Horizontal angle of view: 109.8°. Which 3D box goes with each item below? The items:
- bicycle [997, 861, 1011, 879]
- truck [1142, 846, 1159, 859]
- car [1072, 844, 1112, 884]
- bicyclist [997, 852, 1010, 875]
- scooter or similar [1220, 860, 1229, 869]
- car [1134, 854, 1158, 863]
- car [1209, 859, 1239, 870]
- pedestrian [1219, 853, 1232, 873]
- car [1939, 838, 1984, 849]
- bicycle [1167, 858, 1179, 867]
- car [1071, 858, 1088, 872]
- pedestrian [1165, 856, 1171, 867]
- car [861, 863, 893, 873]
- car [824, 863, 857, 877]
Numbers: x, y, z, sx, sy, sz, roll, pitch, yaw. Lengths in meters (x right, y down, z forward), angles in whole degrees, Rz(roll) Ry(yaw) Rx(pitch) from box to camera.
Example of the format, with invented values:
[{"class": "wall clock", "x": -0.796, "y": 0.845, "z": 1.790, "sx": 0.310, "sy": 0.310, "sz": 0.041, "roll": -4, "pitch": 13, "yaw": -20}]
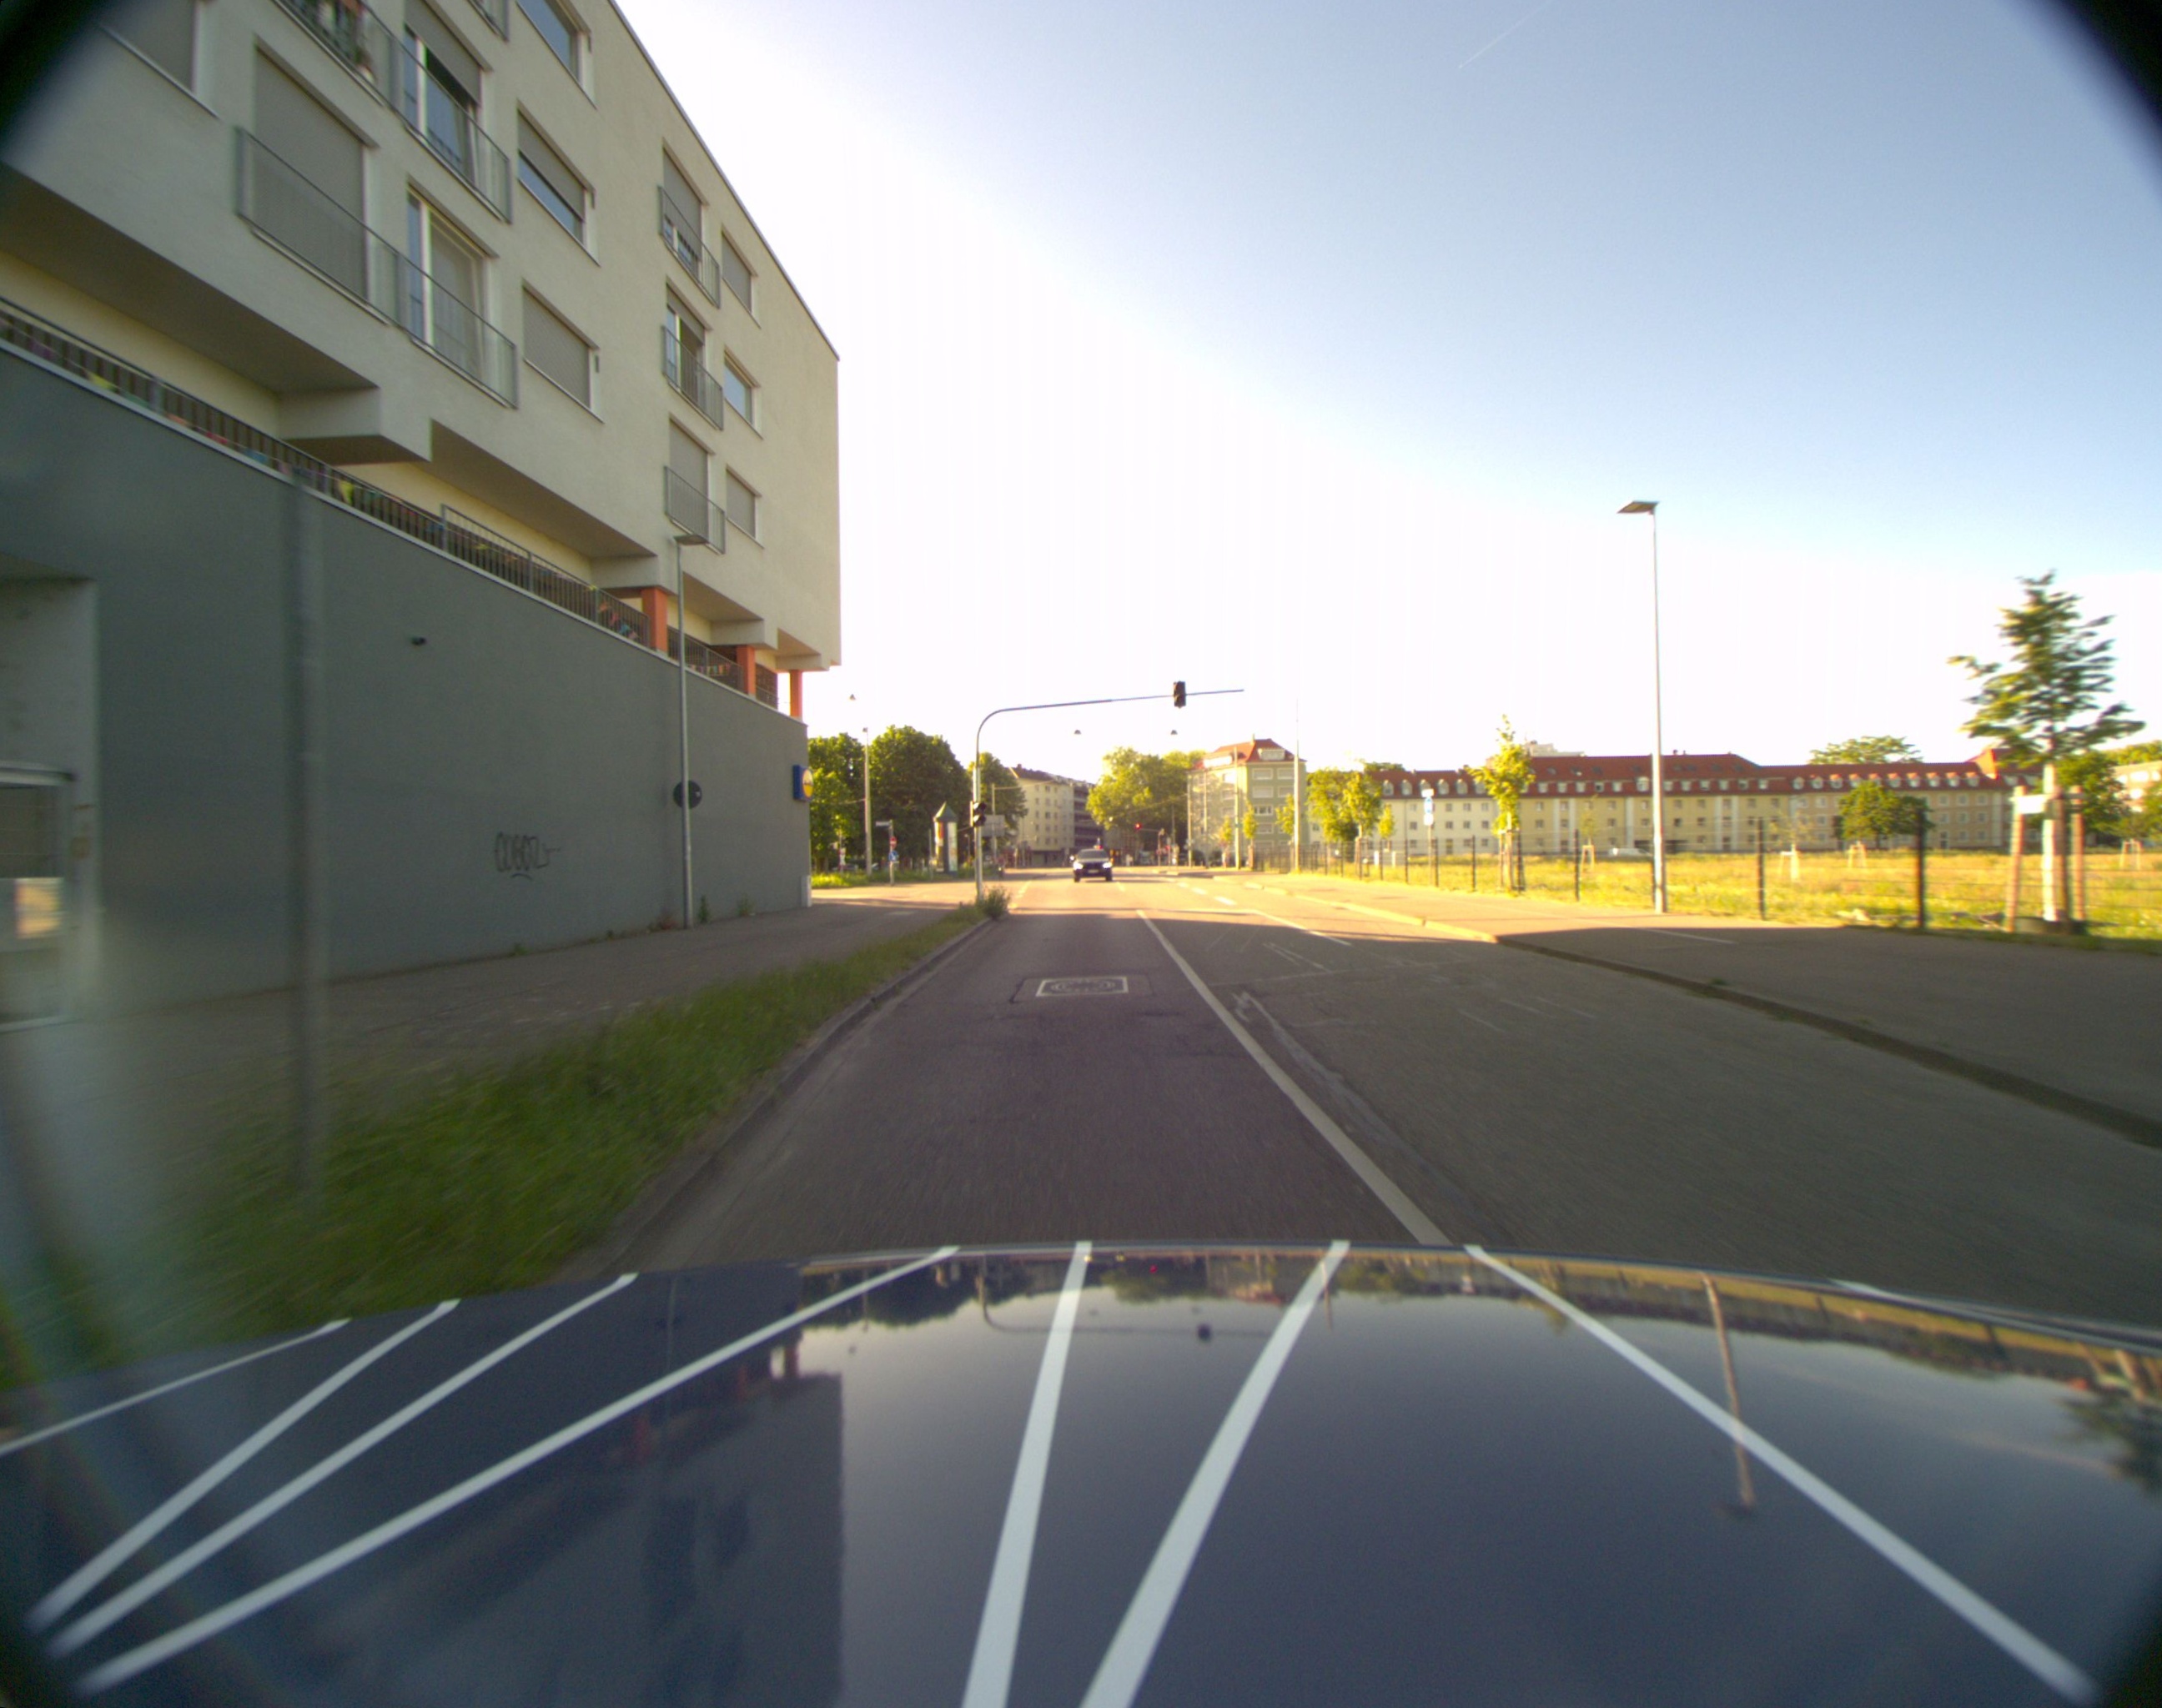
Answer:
[{"class": "bicycle", "x": -5.366, "y": 1.110, "z": 52.997, "sx": 0.720, "sy": 1.185, "sz": 2.001, "roll": 0, "pitch": 0, "yaw": 1}, {"class": "truck", "x": 18.400, "y": -0.465, "z": 201.492, "sx": 2.339, "sy": 2.955, "sz": 8.041, "roll": -2, "pitch": 1, "yaw": 20}, {"class": "car", "x": 0.523, "y": 0.487, "z": 40.745, "sx": 1.941, "sy": 1.922, "sz": 4.522, "roll": -3, "pitch": 1, "yaw": -1}, {"class": "bicyclist", "x": -5.405, "y": 0.664, "z": 53.018, "sx": 0.813, "sy": 1.590, "sz": 1.149, "roll": 0, "pitch": 0, "yaw": 1}, {"class": "scooter or similar", "x": 19.530, "y": 1.382, "z": 103.185, "sx": 0.594, "sy": 1.137, "sz": 1.270, "roll": 0, "pitch": -4, "yaw": 42}, {"class": "car", "x": 12.429, "y": 0.875, "z": 145.330, "sx": 4.140, "sy": 1.631, "sz": 1.777, "roll": -2, "pitch": 1, "yaw": 22}, {"class": "car", "x": 21.713, "y": 1.618, "z": 115.098, "sx": 4.204, "sy": 1.484, "sz": 1.943, "roll": -1, "pitch": -1, "yaw": 2}, {"class": "pedestrian", "x": 12.073, "y": 0.745, "z": 63.410, "sx": 0.834, "sy": 1.620, "sz": 1.181, "roll": -3, "pitch": 0, "yaw": 4}, {"class": "car", "x": 127.880, "y": -1.475, "z": 110.343, "sx": 4.204, "sy": 1.484, "sz": 1.943, "roll": -1, "pitch": -1, "yaw": 2}, {"class": "bicycle", "x": 16.612, "y": 1.566, "z": 136.696, "sx": 2.047, "sy": 1.454, "sz": 0.727, "roll": 1, "pitch": 3, "yaw": 30}, {"class": "car", "x": -0.179, "y": 1.262, "z": 85.415, "sx": 1.702, "sy": 1.432, "sz": 3.646, "roll": -2, "pitch": -1, "yaw": -3}, {"class": "pedestrian", "x": 15.825, "y": 1.333, "z": 138.248, "sx": 0.695, "sy": 1.952, "sz": 0.929, "roll": -2, "pitch": 2, "yaw": 31}, {"class": "car", "x": -31.614, "y": 2.120, "z": 117.701, "sx": 4.194, "sy": 1.337, "sz": 1.994, "roll": -4, "pitch": 2, "yaw": -45}, {"class": "car", "x": -36.056, "y": 2.397, "z": 114.133, "sx": 4.194, "sy": 1.707, "sz": 1.994, "roll": -4, "pitch": 2, "yaw": -45}]
